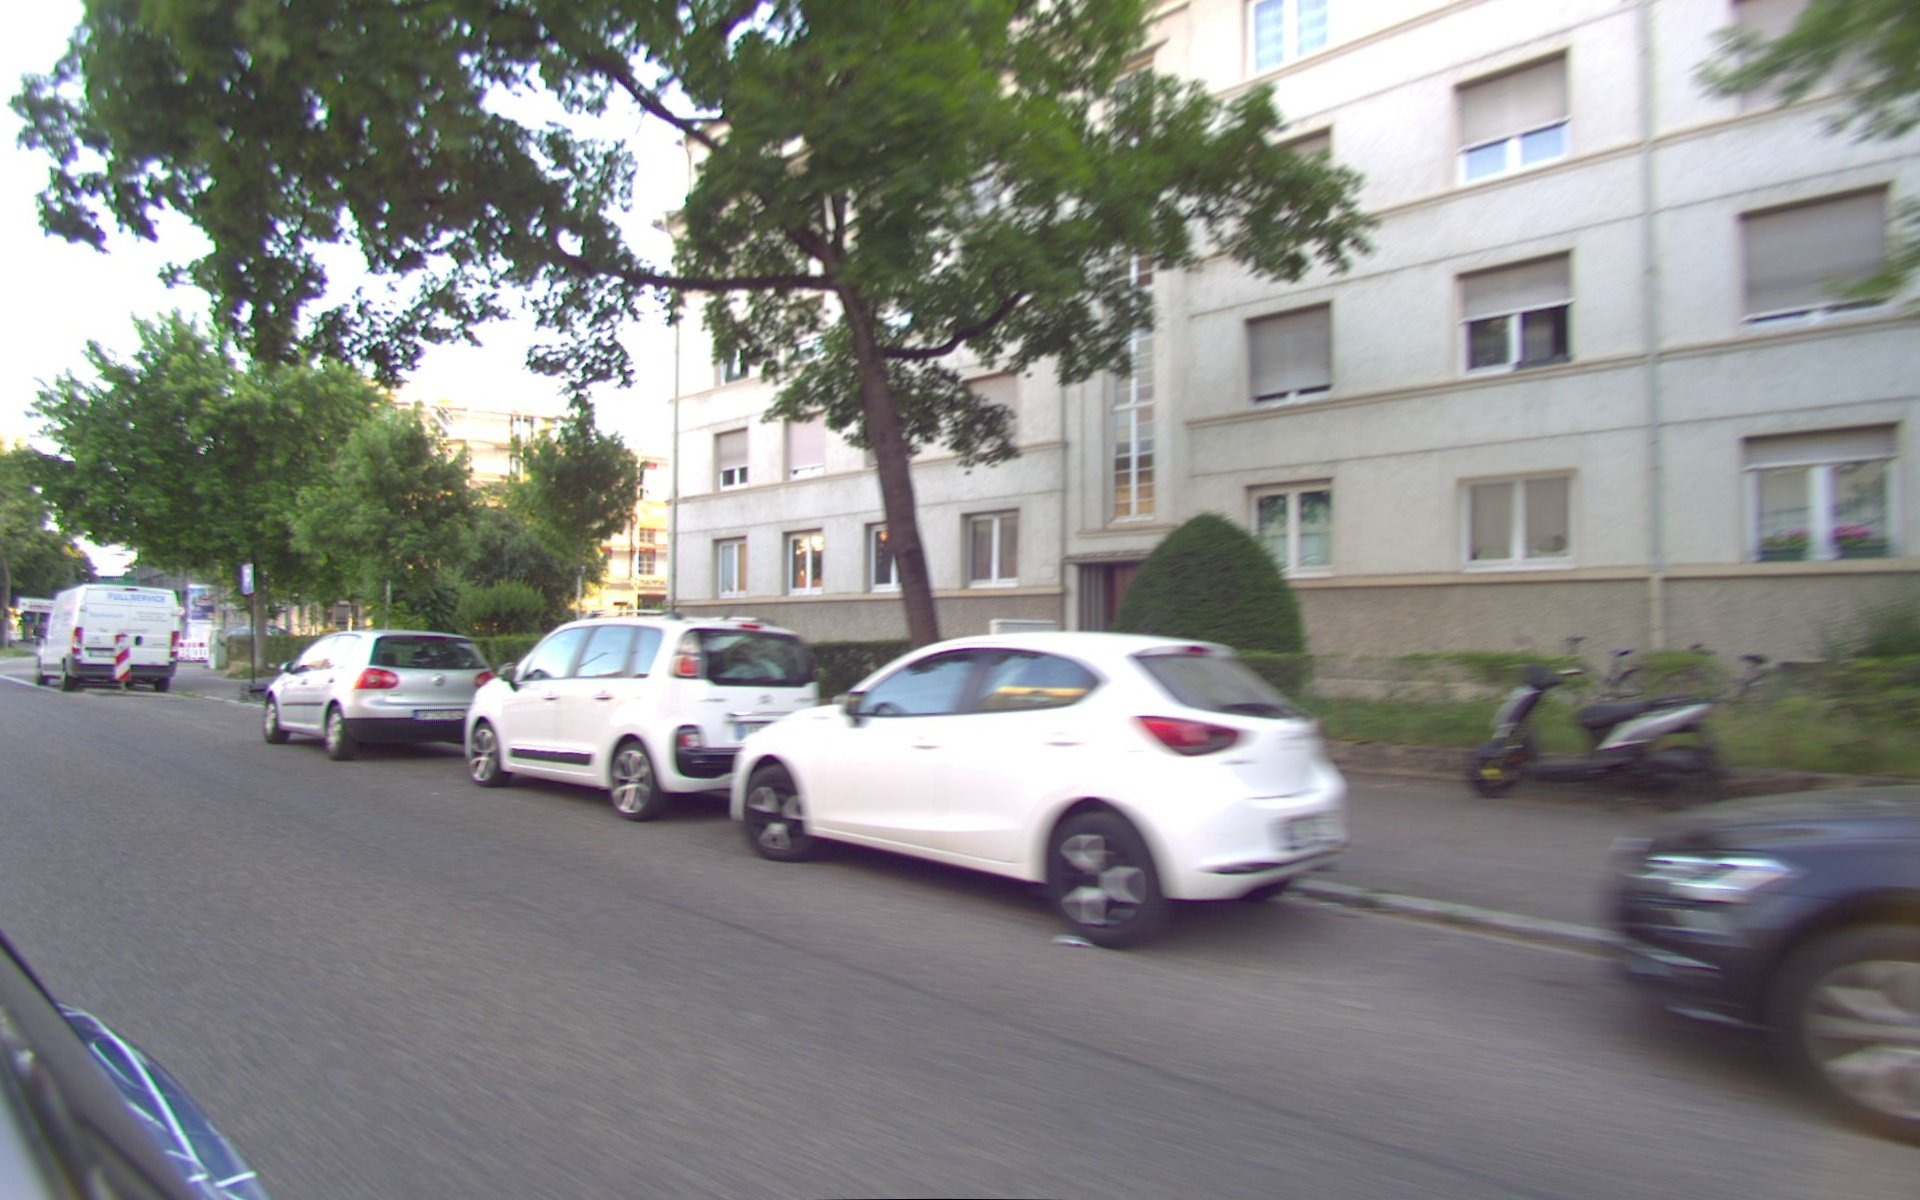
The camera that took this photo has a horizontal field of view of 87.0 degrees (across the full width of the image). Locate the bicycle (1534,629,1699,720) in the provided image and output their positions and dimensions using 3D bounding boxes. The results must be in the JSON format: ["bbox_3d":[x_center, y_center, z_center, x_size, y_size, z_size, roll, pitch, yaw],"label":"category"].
[{"bbox_3d":[8.998,0.995,13.927,1.817,1.181,0.550,-2,-3,44],"label":"bicycle"}]

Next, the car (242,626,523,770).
[{"bbox_3d":[-7.270,1.140,12.566,4.223,1.483,1.733,-2,-6,42],"label":"car"}]

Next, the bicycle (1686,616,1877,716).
[{"bbox_3d":[10.374,0.814,12.827,1.817,1.181,0.550,-2,-3,44],"label":"bicycle"}]

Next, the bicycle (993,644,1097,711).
[{"bbox_3d":[1.422,1.255,16.730,1.787,1.051,0.559,1,-3,-37],"label":"bicycle"}]

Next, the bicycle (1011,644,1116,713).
[{"bbox_3d":[1.696,1.246,16.475,1.787,1.051,0.559,1,-3,-37],"label":"bicycle"}]

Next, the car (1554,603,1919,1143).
[{"bbox_3d":[4.345,0.782,2.573,4.674,1.491,1.735,-2,-6,39],"label":"car"}]

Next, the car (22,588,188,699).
[{"bbox_3d":[-21.718,1.136,25.603,6.100,2.480,2.156,-2,-6,41],"label":"car"}]

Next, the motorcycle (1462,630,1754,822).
[{"bbox_3d":[5.004,0.909,7.905,1.827,1.335,0.580,-2,-3,41],"label":"motorcycle"}]

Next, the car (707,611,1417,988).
[{"bbox_3d":[0.381,0.915,6.037,3.943,1.491,1.733,-2,-6,43],"label":"car"}]

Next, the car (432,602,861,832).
[{"bbox_3d":[-2.991,0.955,9.251,4.103,1.644,1.735,-2,-6,40],"label":"car"}]
